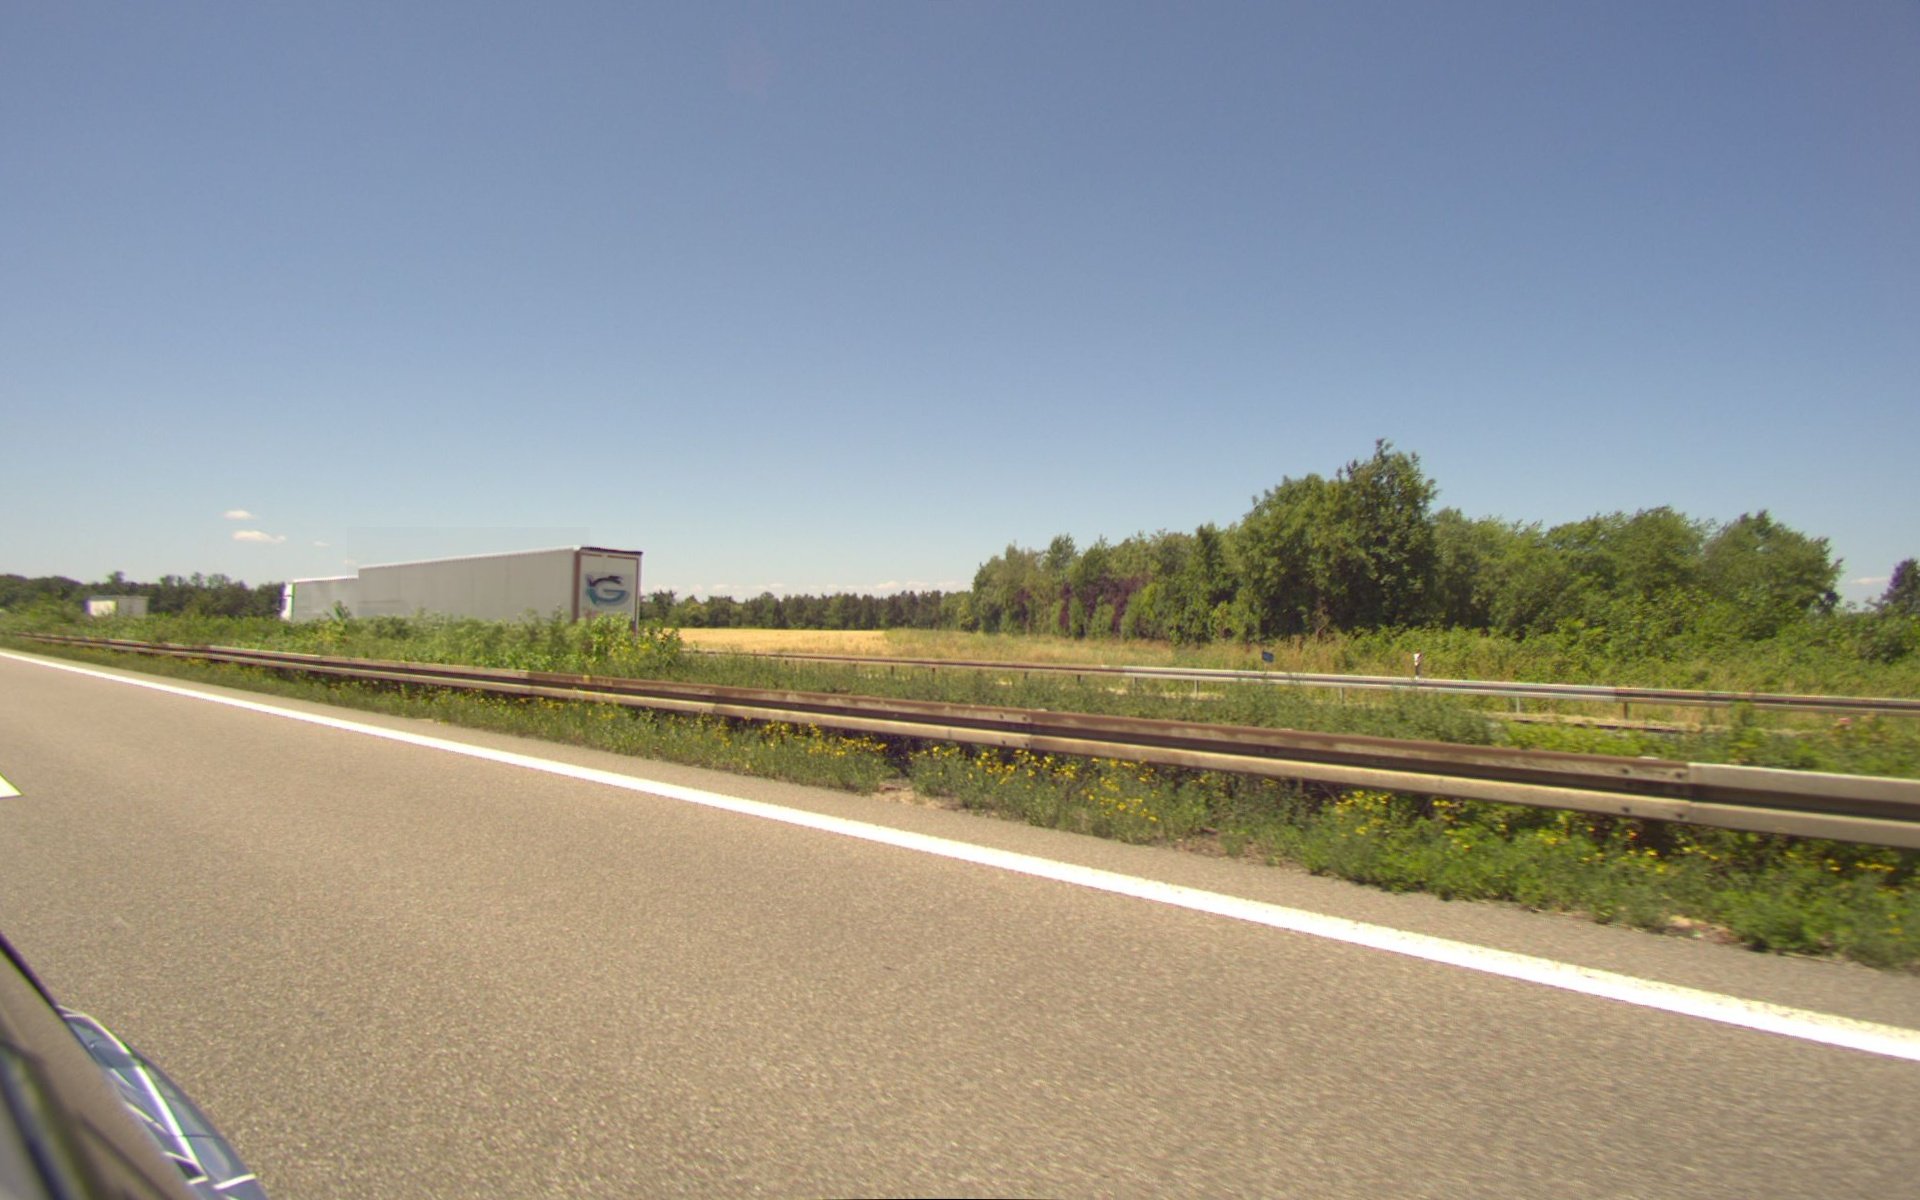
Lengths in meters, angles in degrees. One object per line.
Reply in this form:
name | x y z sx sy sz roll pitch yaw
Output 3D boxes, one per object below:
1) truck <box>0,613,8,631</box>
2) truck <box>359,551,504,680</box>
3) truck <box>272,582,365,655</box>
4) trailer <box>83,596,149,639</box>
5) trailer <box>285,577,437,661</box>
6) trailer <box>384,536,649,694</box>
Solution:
truck | -170.249 3.892 178.174 13.116 3.147 2.542 -1 0 42
truck | -20.456 0.568 39.013 6.536 4.560 2.792 -1 0 41
truck | -37.838 1.056 59.643 6.536 4.093 2.921 -1 0 41
trailer | -84.956 1.714 101.755 13.950 4.089 3.026 -1 0 42
trailer | -33.078 0.997 55.418 14.319 4.089 2.924 -1 0 42
trailer | -15.732 0.498 34.820 13.860 4.560 2.792 -1 0 42
